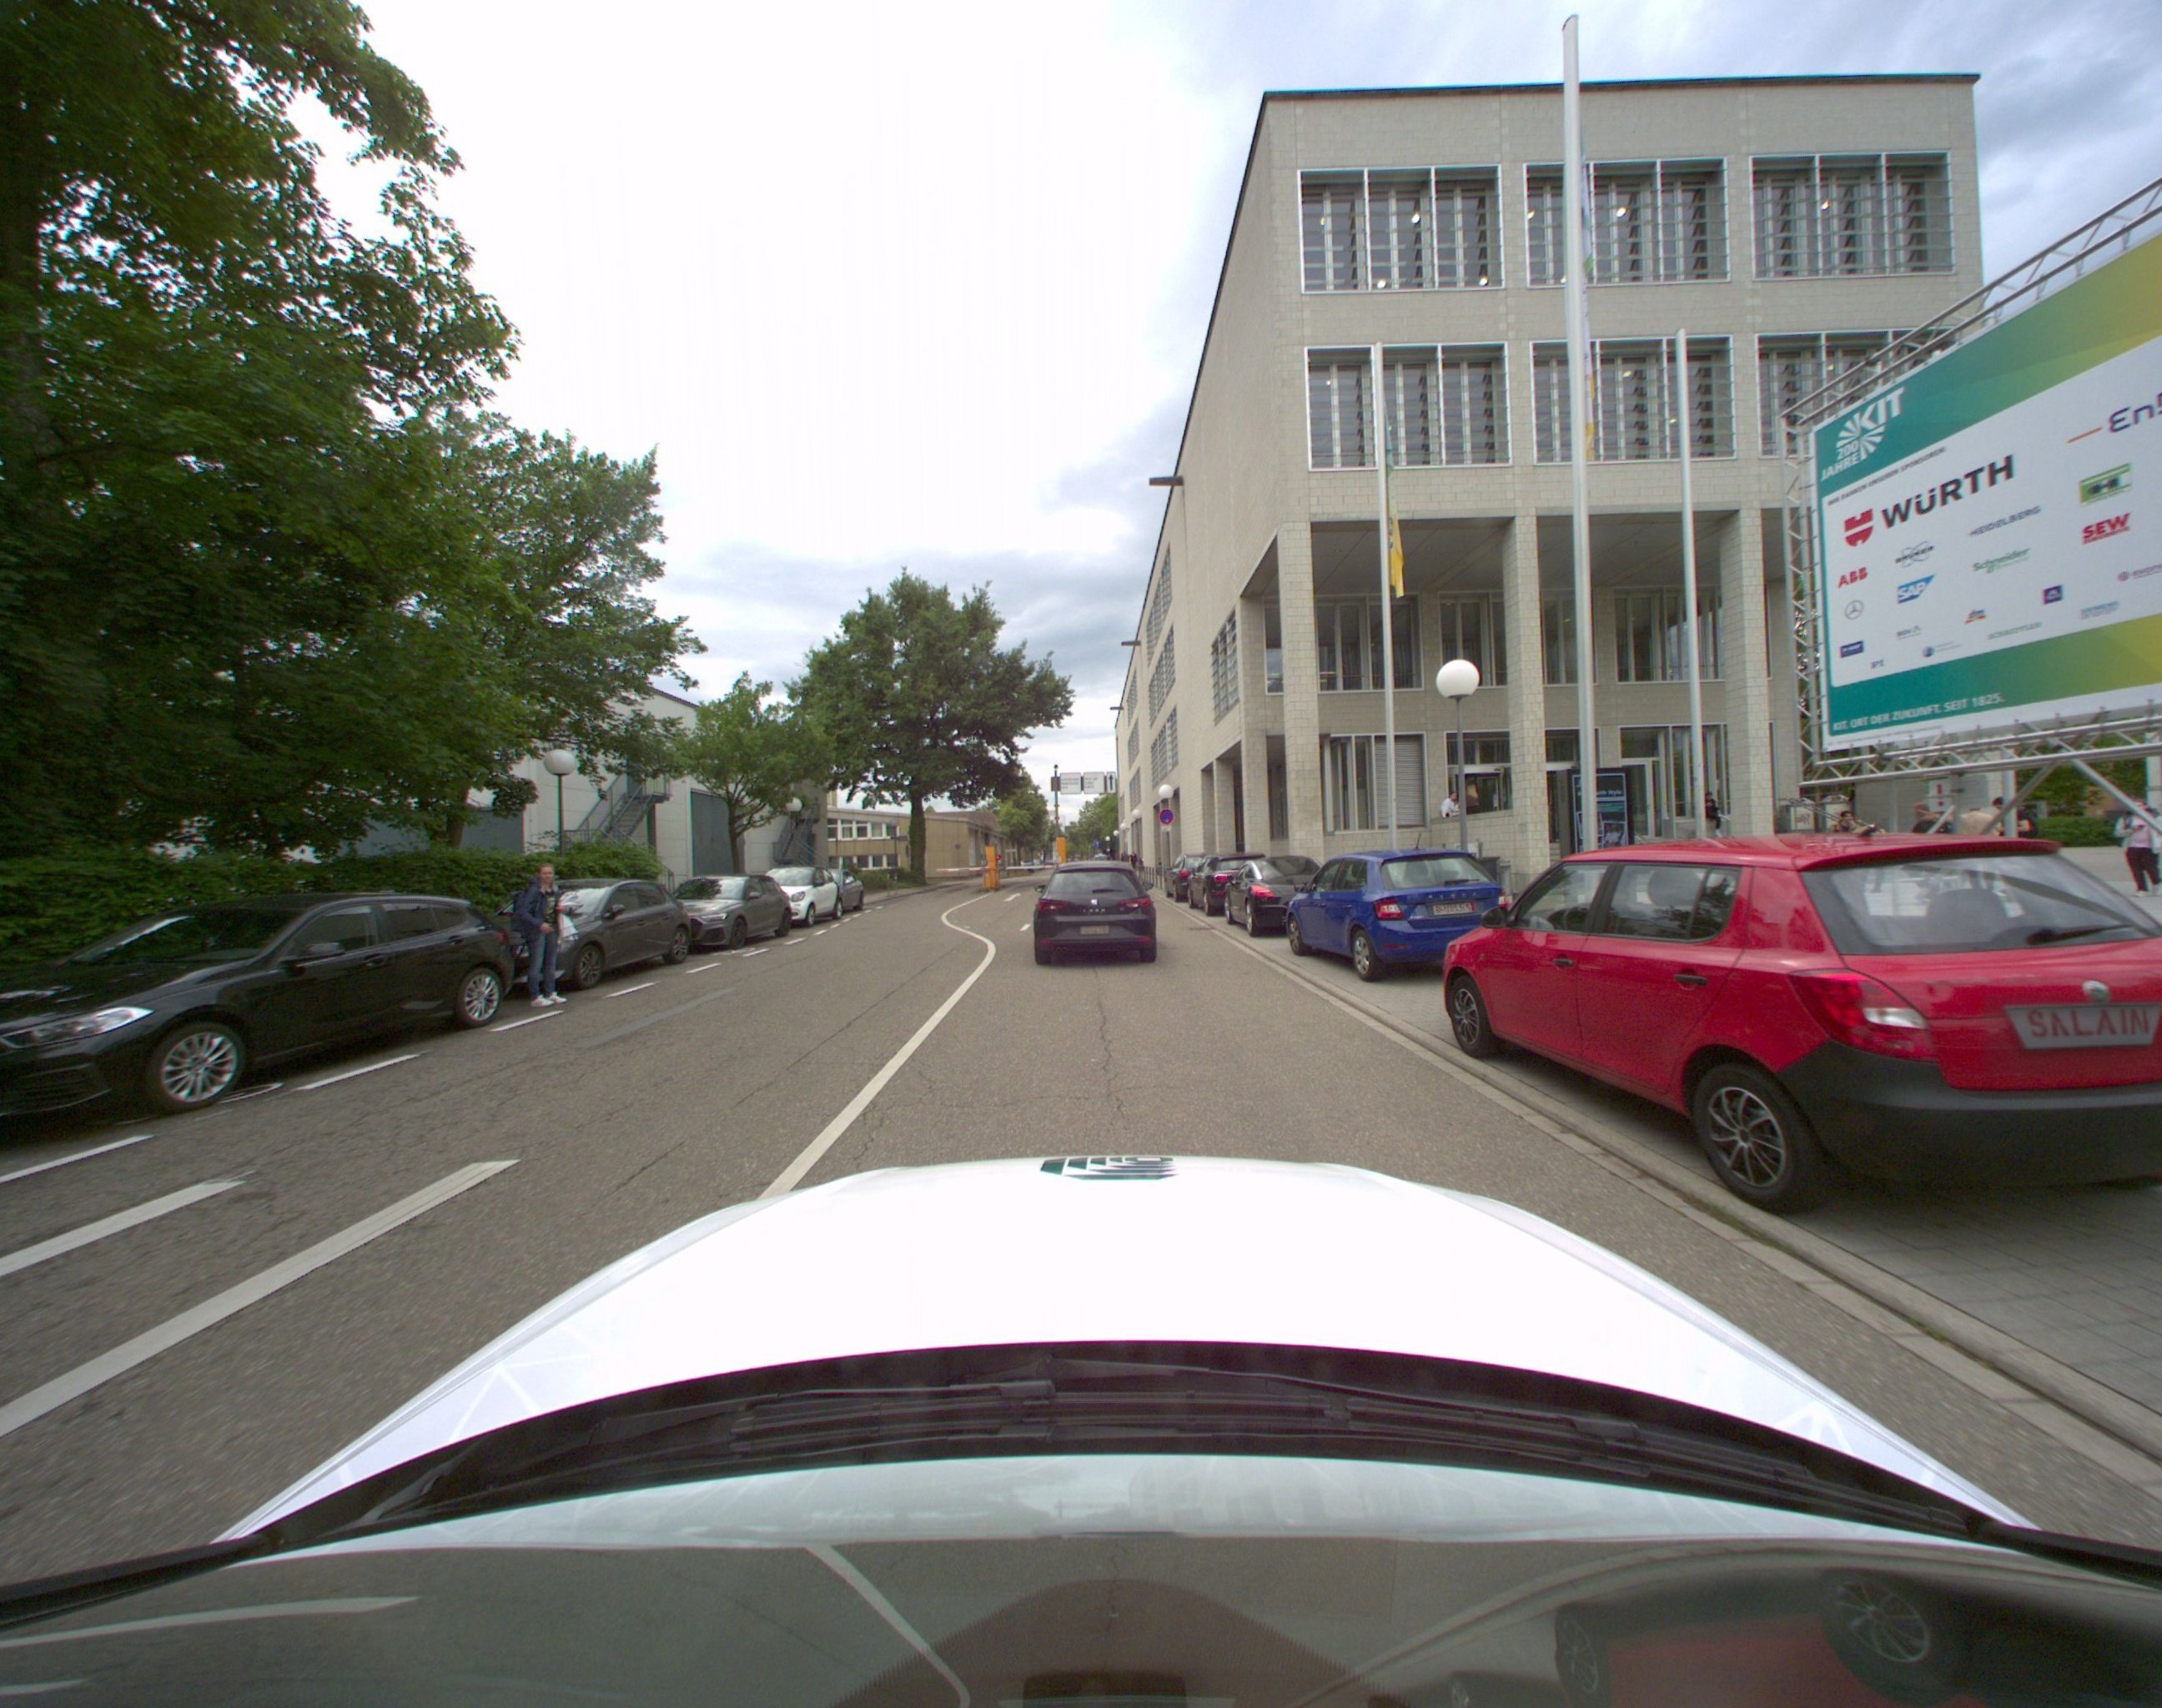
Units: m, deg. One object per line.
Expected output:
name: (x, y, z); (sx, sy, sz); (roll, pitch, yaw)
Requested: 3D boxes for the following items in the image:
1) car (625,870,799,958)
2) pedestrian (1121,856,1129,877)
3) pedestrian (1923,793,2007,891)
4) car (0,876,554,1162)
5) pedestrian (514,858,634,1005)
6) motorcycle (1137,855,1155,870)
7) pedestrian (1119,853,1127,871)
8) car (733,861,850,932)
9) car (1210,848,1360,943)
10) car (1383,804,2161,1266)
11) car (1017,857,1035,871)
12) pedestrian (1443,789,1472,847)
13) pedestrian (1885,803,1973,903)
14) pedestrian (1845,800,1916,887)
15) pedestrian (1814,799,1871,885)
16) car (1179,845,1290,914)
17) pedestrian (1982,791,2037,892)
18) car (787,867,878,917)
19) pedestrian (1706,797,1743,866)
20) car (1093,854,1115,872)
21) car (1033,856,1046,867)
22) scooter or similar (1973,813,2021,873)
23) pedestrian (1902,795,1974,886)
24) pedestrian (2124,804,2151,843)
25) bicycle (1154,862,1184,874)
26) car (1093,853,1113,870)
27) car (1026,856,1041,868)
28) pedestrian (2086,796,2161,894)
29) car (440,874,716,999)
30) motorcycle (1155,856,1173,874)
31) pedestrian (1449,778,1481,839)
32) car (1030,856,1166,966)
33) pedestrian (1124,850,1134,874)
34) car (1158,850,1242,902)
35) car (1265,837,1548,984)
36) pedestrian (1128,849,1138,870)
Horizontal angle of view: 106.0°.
car: (-7.326, 1.117, 16.655); (1.758, 1.411, 4.006); (-2, 0, -1)
pedestrian: (3.641, 1.057, 67.310); (0.687, 1.698, 0.589); (-1, 2, 4)
pedestrian: (16.633, -0.219, 15.338); (0.763, 1.785, 0.733); (-2, -1, -14)
car: (-7.043, 1.087, 7.160); (1.792, 1.561, 4.530); (-3, 0, 0)
pedestrian: (-6.180, 0.906, 9.985); (0.736, 1.661, 0.968); (-3, 0, 2)
motorcycle: (5.789, 0.763, 72.184); (0.752, 1.148, 2.678); (0, 2, 24)
pedestrian: (4.007, 0.739, 78.278); (0.693, 1.714, 0.490); (-2, 0, 4)
car: (-7.554, 1.047, 21.674); (1.711, 1.586, 3.876); (-2, 0, -1)
car: (3.741, 0.667, 15.754); (1.842, 1.442, 4.420); (-2, 1, 1)
car: (3.517, 0.599, 4.934); (1.707, 1.473, 4.273); (-4, 0, 0)
car: (-6.266, 1.123, 92.947); (1.765, 1.601, 3.998); (-2, 0, -1)
pedestrian: (10.949, -1.048, 23.695); (0.624, 1.658, 0.810); (-1, 2, 16)
pedestrian: (14.689, -0.024, 14.120); (0.752, 1.669, 0.705); (-2, 0, 1)
pedestrian: (16.394, -0.213, 16.710); (0.774, 1.715, 0.603); (-2, -1, 1)
pedestrian: (16.667, -0.260, 17.836); (0.589, 1.841, 0.620); (-2, -1, 1)
car: (3.739, 0.579, 20.645); (1.812, 1.443, 4.518); (-4, 0, -1)
pedestrian: (17.675, -0.237, 15.514); (0.783, 1.865, 0.596); (-2, -1, -42)
car: (-8.063, 1.187, 26.786); (1.813, 1.389, 4.190); (-2, 0, -2)
pedestrian: (19.100, -0.664, 24.178); (0.594, 2.013, 0.539); (-2, -1, -1)
car: (2.275, 0.934, 81.021); (1.988, 1.622, 4.426); (-3, -1, -1)
car: (-6.192, 1.072, 121.239); (1.765, 1.601, 3.997); (-2, 0, -2)
scooter or similar: (21.787, -0.281, 19.364); (1.495, 1.369, 0.402); (-2, 2, -28)
pedestrian: (17.369, -0.283, 16.524); (0.720, 1.784, 0.733); (-3, 1, -14)
pedestrian: (46.614, -1.338, 35.937); (0.669, 1.641, 0.655); (-1, -1, -36)
bicycle: (5.675, 0.917, 52.417); (1.893, 0.698, 0.492); (-1, 2, -4)
car: (2.287, 0.802, 85.551); (1.987, 1.622, 4.427); (-4, 0, 0)
car: (-6.756, 1.121, 115.731); (1.764, 1.601, 3.999); (-2, 0, 0)
pedestrian: (18.322, -0.169, 14.177); (0.727, 1.640, 0.937); (0, 2, 28)
car: (-7.339, 1.106, 12.411); (1.756, 1.471, 3.824); (-3, -1, 0)
motorcycle: (5.666, 0.743, 55.595); (0.560, 1.148, 2.230); (0, 2, 24)
pedestrian: (10.741, -1.259, 22.781); (0.797, 1.658, 0.635); (0, 2, 25)
car: (0.224, 0.764, 12.955); (1.777, 1.419, 4.128); (-2, 0, 0)
pedestrian: (3.491, 0.583, 58.974); (0.608, 1.714, 0.575); (-3, 0, 4)
car: (3.748, 0.683, 26.479); (1.987, 1.452, 4.922); (-3, -1, 0)
car: (3.856, 0.602, 10.577); (1.691, 1.411, 4.371); (-3, -1, -3)
pedestrian: (4.397, 0.453, 68.671); (0.726, 1.698, 0.587); (-1, 2, -5)
